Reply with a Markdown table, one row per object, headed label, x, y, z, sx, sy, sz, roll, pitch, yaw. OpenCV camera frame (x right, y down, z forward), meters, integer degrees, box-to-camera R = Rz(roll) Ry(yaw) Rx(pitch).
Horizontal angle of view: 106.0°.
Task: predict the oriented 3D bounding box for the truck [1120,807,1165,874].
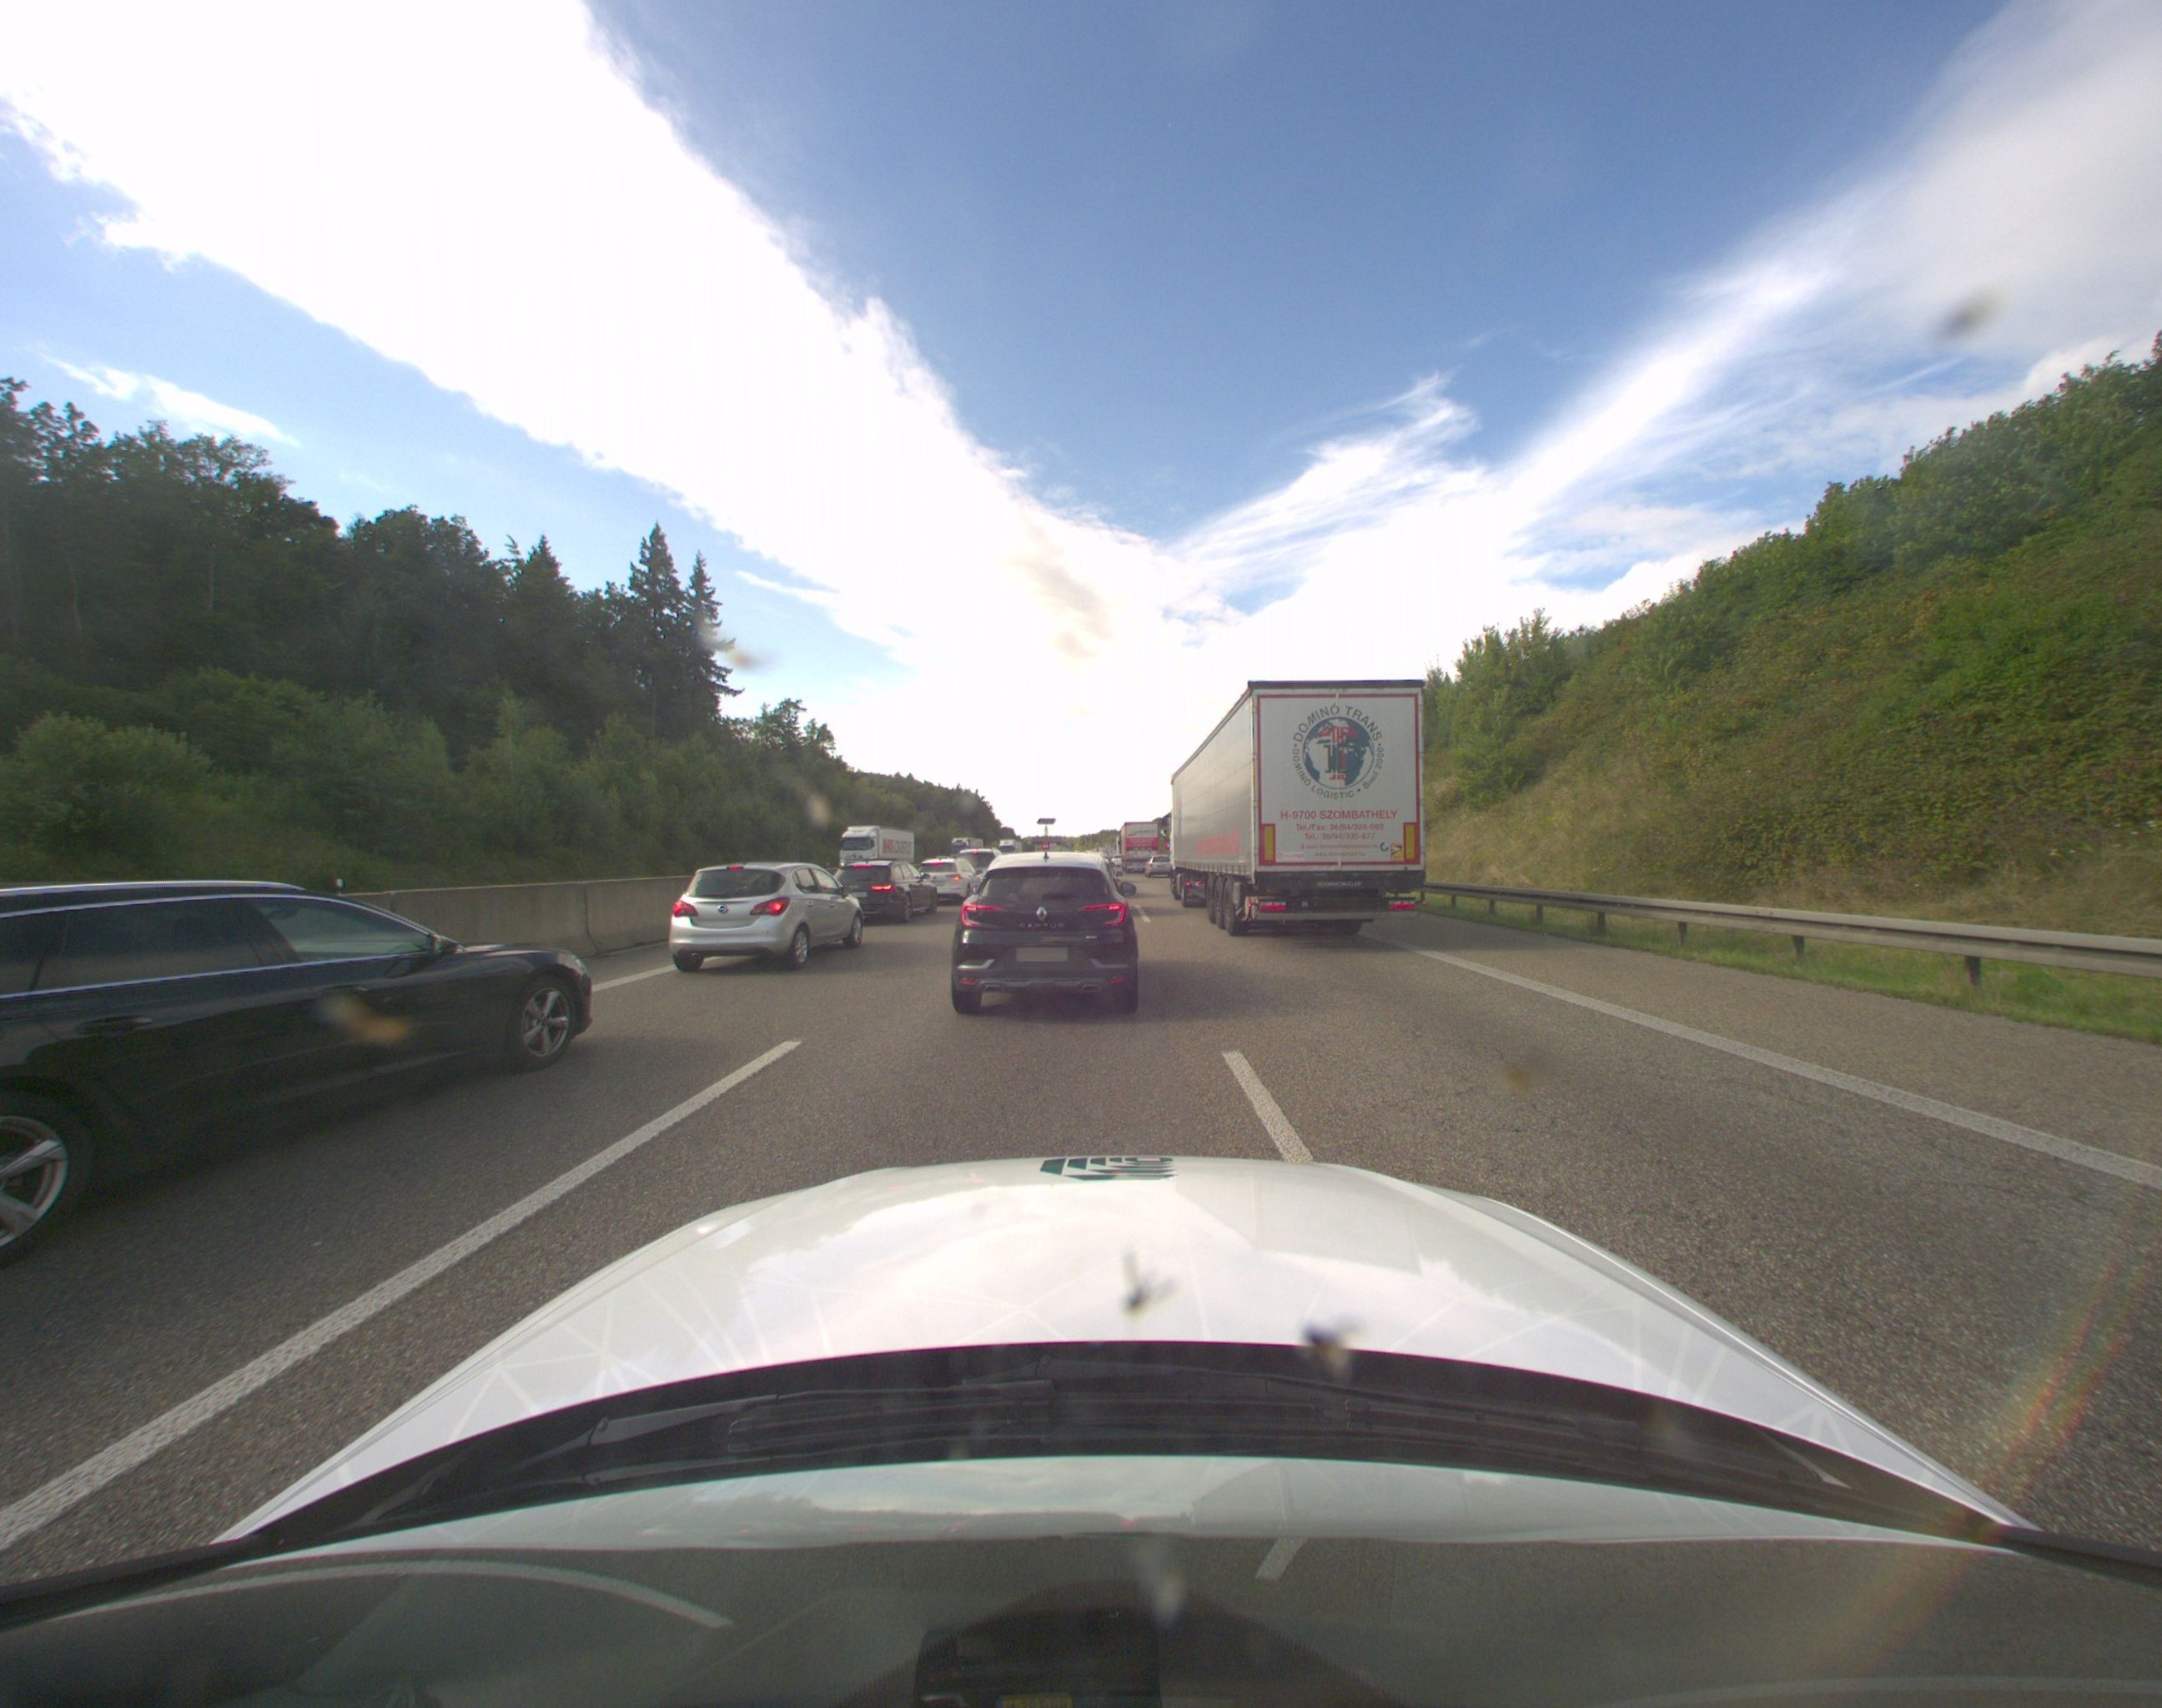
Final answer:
| label | x | y | z | sx | sy | sz | roll | pitch | yaw |
| --- | --- | --- | --- | --- | --- | --- | --- | --- | --- |
| truck | 4.956 | -0.970 | 67.849 | 3.351 | 5.044 | 12.744 | 0 | -1 | 2 |

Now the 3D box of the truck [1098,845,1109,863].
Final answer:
| label | x | y | z | sx | sy | sz | roll | pitch | yaw |
| --- | --- | --- | --- | --- | --- | --- | --- | --- | --- |
| truck | 7.151 | -0.007 | 260.559 | 3.154 | 5.505 | 12.744 | 0 | -1 | 2 |

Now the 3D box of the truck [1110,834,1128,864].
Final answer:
| label | x | y | z | sx | sy | sz | roll | pitch | yaw |
| --- | --- | --- | --- | --- | --- | --- | --- | --- | --- |
| truck | 7.255 | -0.899 | 155.446 | 3.153 | 5.505 | 12.750 | 0 | -1 | 4 |

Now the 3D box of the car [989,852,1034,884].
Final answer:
| label | x | y | z | sx | sy | sz | roll | pitch | yaw |
| --- | --- | --- | --- | --- | --- | --- | --- | --- | --- |
| car | -3.598 | 0.725 | 42.957 | 1.848 | 1.641 | 3.928 | 0 | -1 | 2 |

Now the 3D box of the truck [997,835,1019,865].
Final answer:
| label | x | y | z | sx | sy | sz | roll | pitch | yaw |
| --- | --- | --- | --- | --- | --- | --- | --- | --- | --- |
| truck | -12.614 | -0.688 | 141.503 | 3.077 | 5.101 | 7.143 | 0 | -1 | 1 |

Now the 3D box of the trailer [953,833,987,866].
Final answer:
| label | x | y | z | sx | sy | sz | roll | pitch | yaw |
| --- | --- | --- | --- | --- | --- | --- | --- | --- | --- |
| trailer | -16.923 | -0.595 | 125.609 | 2.916 | 4.830 | 14.657 | 0 | -1 | 1 |

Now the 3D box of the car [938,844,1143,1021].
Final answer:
| label | x | y | z | sx | sy | sz | roll | pitch | yaw |
| --- | --- | --- | --- | --- | --- | --- | --- | --- | --- |
| car | -0.225 | 0.711 | 9.225 | 1.796 | 1.552 | 4.004 | -1 | 0 | 4 |

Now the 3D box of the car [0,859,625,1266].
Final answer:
| label | x | y | z | sx | sy | sz | roll | pitch | yaw |
| --- | --- | --- | --- | --- | --- | --- | --- | --- | --- |
| car | -4.854 | 0.785 | 4.378 | 1.875 | 1.471 | 4.855 | 0 | 0 | 3 |

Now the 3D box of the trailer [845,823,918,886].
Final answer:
| label | x | y | z | sx | sy | sz | roll | pitch | yaw |
| --- | --- | --- | --- | --- | --- | --- | --- | --- | --- |
| trailer | -18.210 | 0.083 | 75.450 | 3.031 | 5.281 | 13.838 | 0 | -1 | 1 |

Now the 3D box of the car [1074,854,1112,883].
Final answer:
| label | x | y | z | sx | sy | sz | roll | pitch | yaw |
| --- | --- | --- | --- | --- | --- | --- | --- | --- | --- |
| car | 0.718 | 0.760 | 44.949 | 1.986 | 1.514 | 4.002 | 0 | -1 | 2 |

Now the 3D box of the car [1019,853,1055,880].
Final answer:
| label | x | y | z | sx | sy | sz | roll | pitch | yaw |
| --- | --- | --- | --- | --- | --- | --- | --- | --- | --- |
| car | -2.854 | 0.808 | 53.355 | 1.986 | 1.722 | 4.002 | 0 | -1 | 2 |

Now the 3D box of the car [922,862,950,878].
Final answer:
| label | x | y | z | sx | sy | sz | roll | pitch | yaw |
| --- | --- | --- | --- | --- | --- | --- | --- | --- | --- |
| car | -14.552 | 1.582 | 81.859 | 1.947 | 1.428 | 4.325 | 0 | 0 | 1 |

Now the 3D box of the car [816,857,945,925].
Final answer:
| label | x | y | z | sx | sy | sz | roll | pitch | yaw |
| --- | --- | --- | --- | --- | --- | --- | --- | --- | --- |
| car | -4.742 | 0.812 | 20.013 | 1.836 | 1.456 | 4.750 | 0 | 0 | 2 |

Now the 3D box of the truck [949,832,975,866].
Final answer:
| label | x | y | z | sx | sy | sz | roll | pitch | yaw |
| --- | --- | --- | --- | --- | --- | --- | --- | --- | --- |
| truck | -17.151 | -0.687 | 117.547 | 2.921 | 4.859 | 4.766 | 0 | -1 | 1 |

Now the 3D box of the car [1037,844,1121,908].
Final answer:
| label | x | y | z | sx | sy | sz | roll | pitch | yaw |
| --- | --- | --- | --- | --- | --- | --- | --- | --- | --- |
| car | 0.028 | 0.552 | 21.499 | 1.986 | 1.514 | 4.002 | 0 | -1 | 2 |

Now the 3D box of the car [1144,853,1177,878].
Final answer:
| label | x | y | z | sx | sy | sz | roll | pitch | yaw |
| --- | --- | --- | --- | --- | --- | --- | --- | --- | --- |
| car | 5.134 | 0.717 | 52.814 | 1.798 | 1.533 | 3.926 | 0 | -1 | 1 |

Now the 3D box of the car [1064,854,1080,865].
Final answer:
| label | x | y | z | sx | sy | sz | roll | pitch | yaw |
| --- | --- | --- | --- | --- | --- | --- | --- | --- | --- |
| car | -1.286 | 0.795 | 118.115 | 1.986 | 1.613 | 4.002 | -1 | 0 | 2 |

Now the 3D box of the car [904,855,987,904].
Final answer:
| label | x | y | z | sx | sy | sz | roll | pitch | yaw |
| --- | --- | --- | --- | --- | --- | --- | --- | --- | --- |
| car | -4.364 | 0.798 | 26.797 | 1.797 | 1.461 | 4.311 | -1 | -1 | 3 |

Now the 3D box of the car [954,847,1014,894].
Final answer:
| label | x | y | z | sx | sy | sz | roll | pitch | yaw |
| --- | --- | --- | --- | --- | --- | --- | --- | --- | --- |
| car | -3.954 | 0.662 | 33.812 | 1.905 | 1.789 | 4.417 | 0 | -1 | 1 |

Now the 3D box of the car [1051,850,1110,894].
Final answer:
| label | x | y | z | sx | sy | sz | roll | pitch | yaw |
| --- | --- | --- | --- | --- | --- | --- | --- | --- | --- |
| car | 0.059 | 0.628 | 29.927 | 1.986 | 1.514 | 4.002 | 0 | -1 | 2 |

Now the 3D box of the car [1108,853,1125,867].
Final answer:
| label | x | y | z | sx | sy | sz | roll | pitch | yaw |
| --- | --- | --- | --- | --- | --- | --- | --- | --- | --- |
| car | 4.134 | 0.665 | 95.429 | 1.986 | 1.613 | 4.002 | -1 | 0 | 2 |

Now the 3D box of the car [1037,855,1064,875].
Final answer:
| label | x | y | z | sx | sy | sz | roll | pitch | yaw |
| --- | --- | --- | --- | --- | --- | --- | --- | --- | --- |
| car | -2.533 | 0.946 | 68.905 | 1.986 | 1.613 | 4.002 | 0 | -1 | 2 |

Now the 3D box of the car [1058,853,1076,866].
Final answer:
| label | x | y | z | sx | sy | sz | roll | pitch | yaw |
| --- | --- | --- | --- | --- | --- | --- | --- | --- | --- |
| car | -1.781 | 0.685 | 102.780 | 1.986 | 1.613 | 4.002 | -1 | 0 | 2 |

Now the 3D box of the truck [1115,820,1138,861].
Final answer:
| label | x | y | z | sx | sy | sz | roll | pitch | yaw |
| --- | --- | --- | --- | --- | --- | --- | --- | --- | --- |
| truck | 6.497 | -1.753 | 117.333 | 3.154 | 5.505 | 12.744 | 0 | -1 | 2 |

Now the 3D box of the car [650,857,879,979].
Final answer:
| label | x | y | z | sx | sy | sz | roll | pitch | yaw |
| --- | --- | --- | --- | --- | --- | --- | --- | --- | --- |
| car | -4.505 | 0.816 | 12.319 | 1.740 | 1.465 | 4.042 | -1 | 0 | 2 |

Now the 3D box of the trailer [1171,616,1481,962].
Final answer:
| label | x | y | z | sx | sy | sz | roll | pitch | yaw |
| --- | --- | --- | --- | --- | --- | --- | --- | --- | --- |
| trailer | 4.047 | -0.891 | 17.692 | 2.991 | 4.661 | 13.293 | -1 | 0 | 1 |

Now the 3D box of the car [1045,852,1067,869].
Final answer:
| label | x | y | z | sx | sy | sz | roll | pitch | yaw |
| --- | --- | --- | --- | --- | --- | --- | --- | --- | --- |
| car | -2.531 | 0.659 | 83.538 | 1.986 | 1.613 | 4.002 | -1 | 0 | 2 |

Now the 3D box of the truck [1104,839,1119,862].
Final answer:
| label | x | y | z | sx | sy | sz | roll | pitch | yaw |
| --- | --- | --- | --- | --- | --- | --- | --- | --- | --- |
| truck | 7.157 | -0.645 | 190.031 | 3.154 | 5.159 | 12.744 | 0 | -1 | 2 |

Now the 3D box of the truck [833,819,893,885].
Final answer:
| label | x | y | z | sx | sy | sz | roll | pitch | yaw |
| --- | --- | --- | --- | --- | --- | --- | --- | --- | --- |
| truck | -18.352 | -0.125 | 68.999 | 3.028 | 5.253 | 6.884 | 0 | -1 | 1 |

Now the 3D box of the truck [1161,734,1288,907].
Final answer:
| label | x | y | z | sx | sy | sz | roll | pitch | yaw |
| --- | --- | --- | --- | --- | --- | --- | --- | --- | --- |
| truck | 4.209 | -0.917 | 25.218 | 2.986 | 4.667 | 5.941 | -1 | 0 | 1 |
